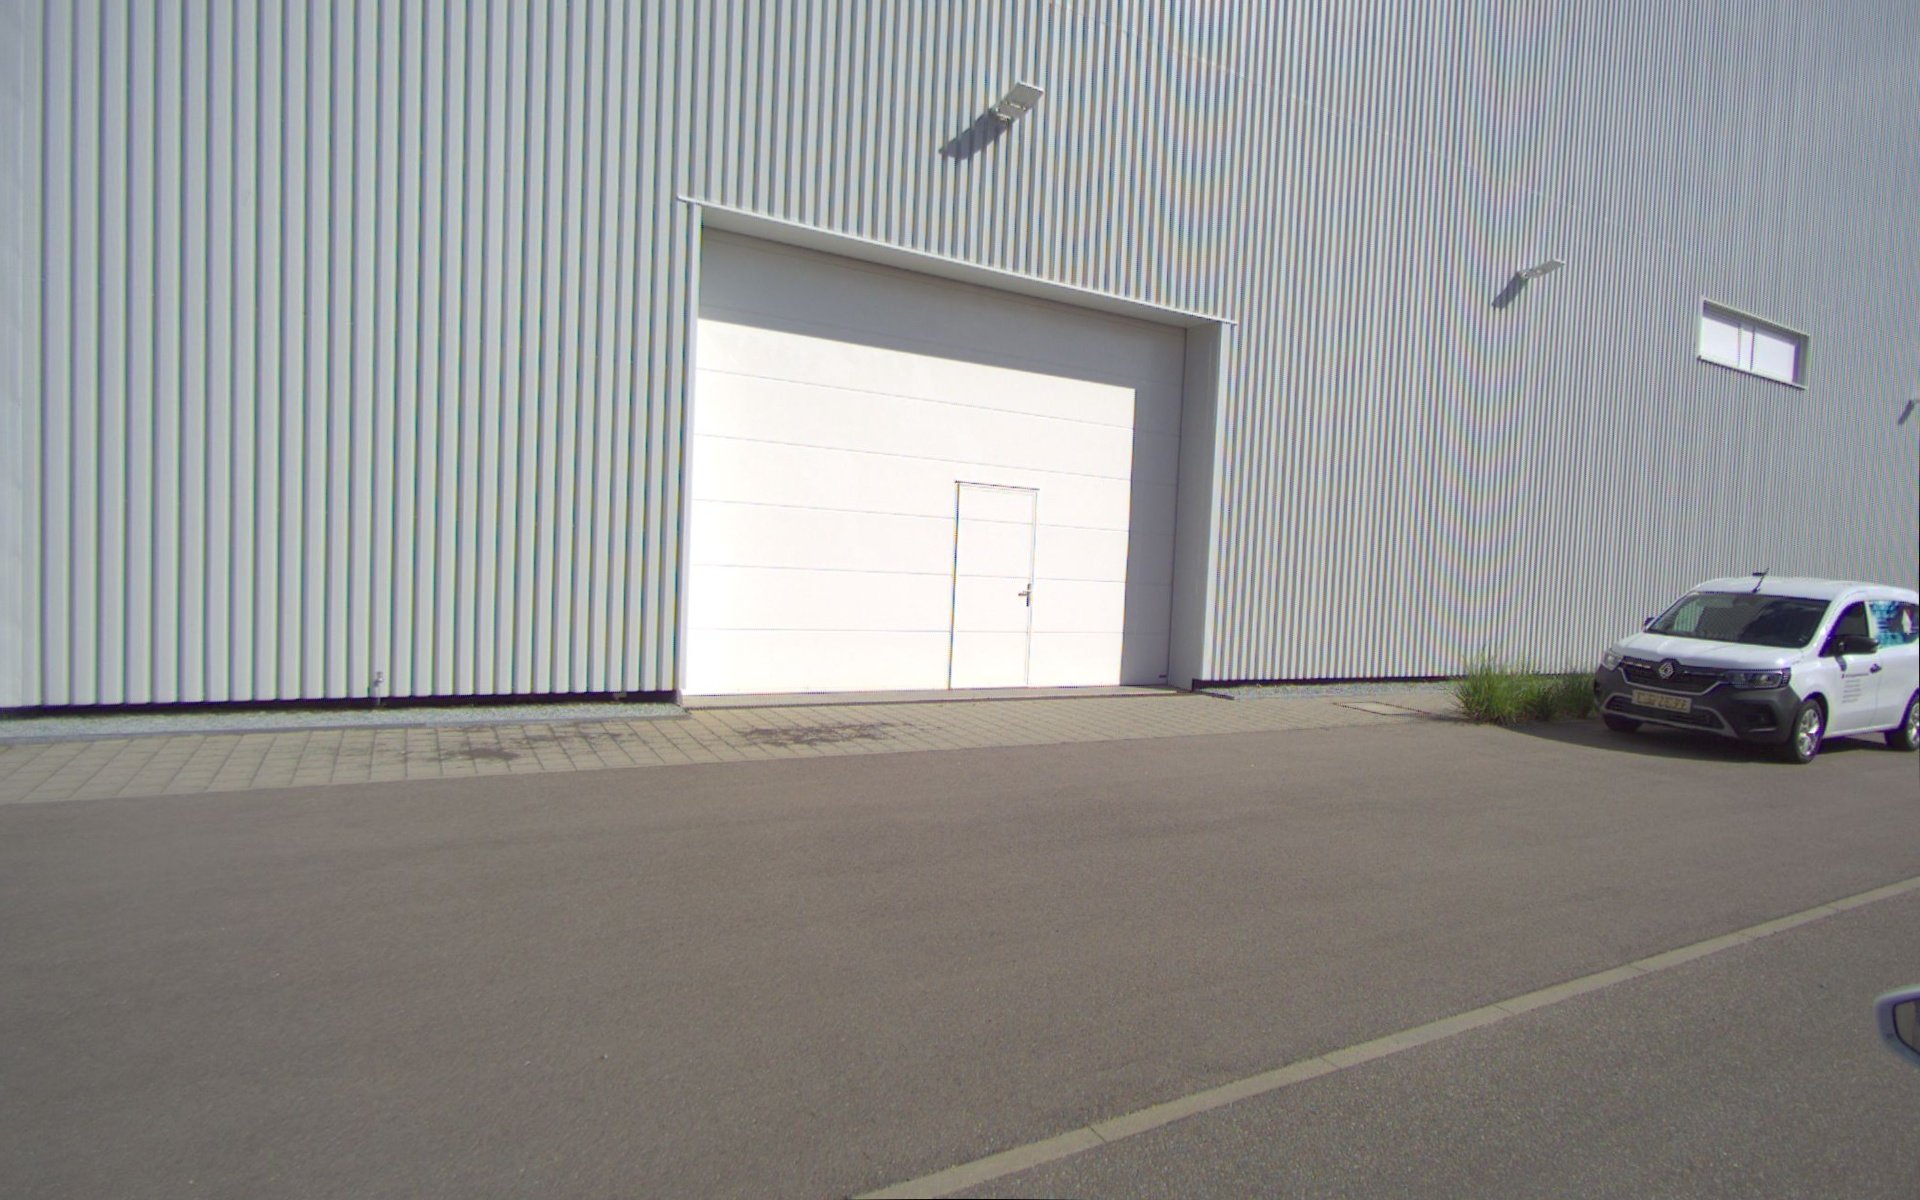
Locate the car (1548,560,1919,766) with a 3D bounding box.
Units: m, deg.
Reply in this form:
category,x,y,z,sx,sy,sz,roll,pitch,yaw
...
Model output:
category,x,y,z,sx,sy,sz,roll,pitch,yaw
car,8.832,0.599,11.123,4.543,1.814,1.919,1,3,-30
